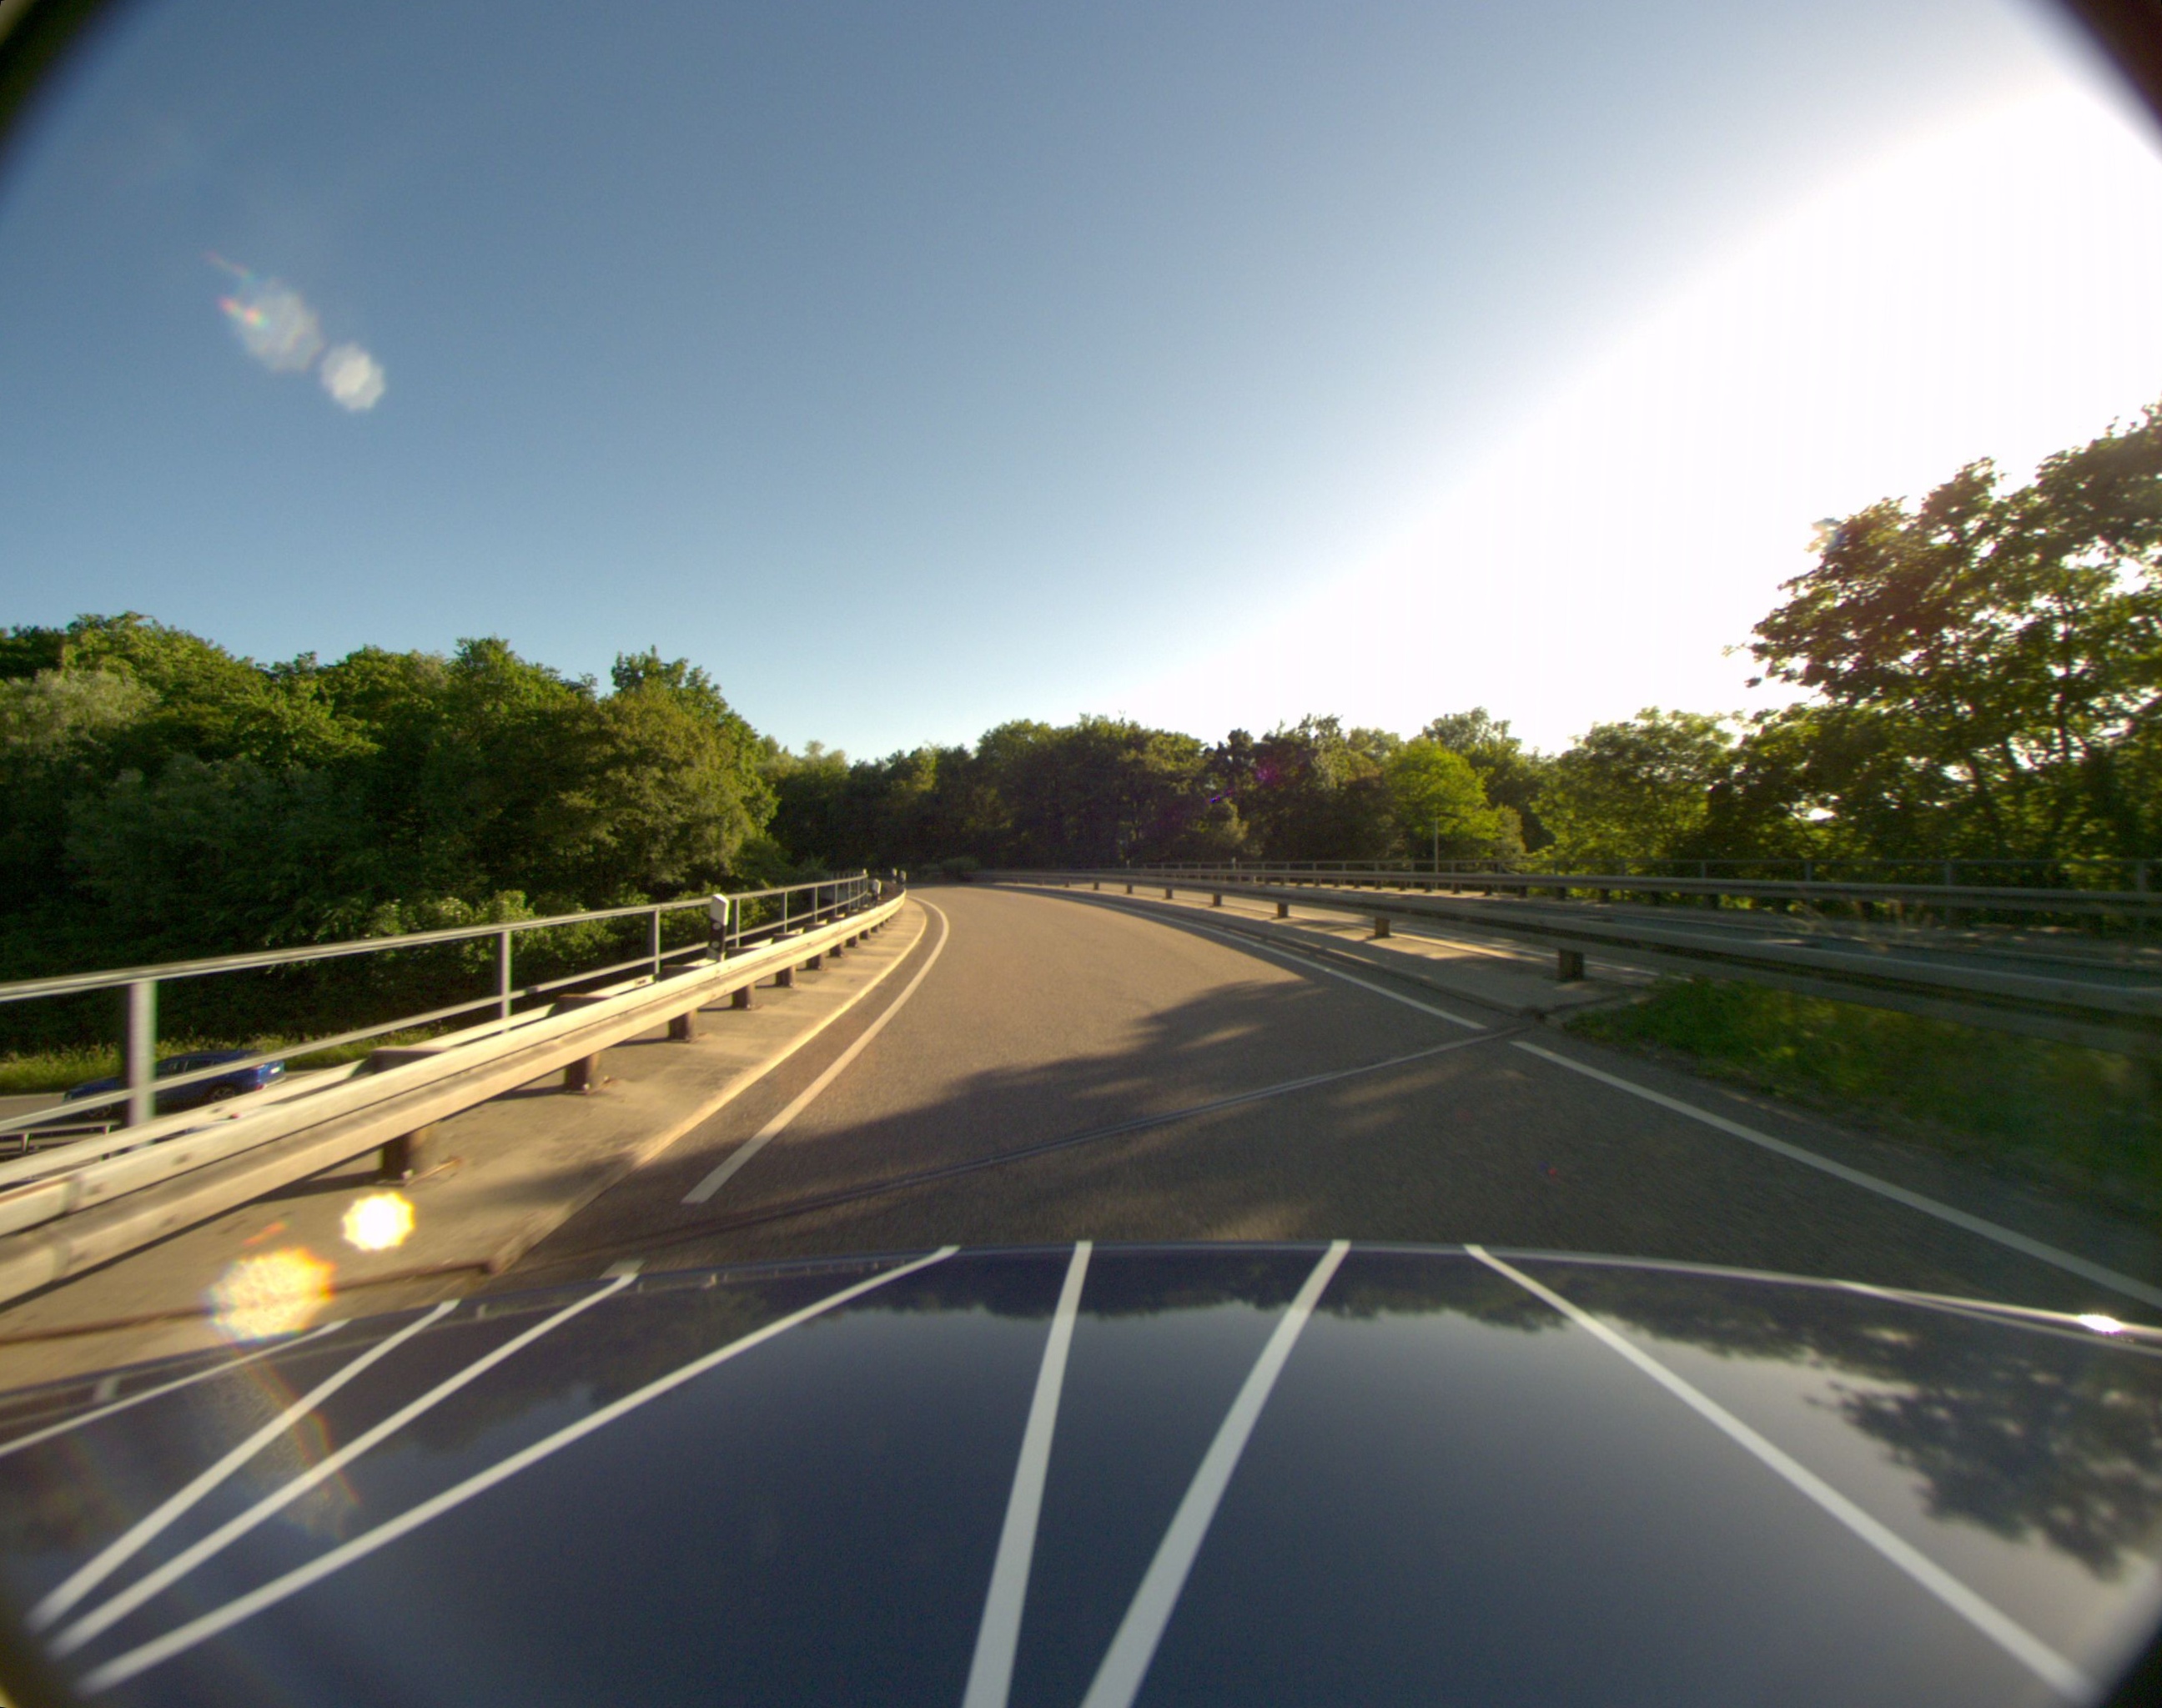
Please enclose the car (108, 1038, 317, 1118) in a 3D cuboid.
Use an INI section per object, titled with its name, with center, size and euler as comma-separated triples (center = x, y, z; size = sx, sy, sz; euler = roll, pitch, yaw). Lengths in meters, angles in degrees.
[car]
center = -27.861, 7.160, 24.581
size = 4.005, 1.662, 1.866
euler = 1, -2, -25
